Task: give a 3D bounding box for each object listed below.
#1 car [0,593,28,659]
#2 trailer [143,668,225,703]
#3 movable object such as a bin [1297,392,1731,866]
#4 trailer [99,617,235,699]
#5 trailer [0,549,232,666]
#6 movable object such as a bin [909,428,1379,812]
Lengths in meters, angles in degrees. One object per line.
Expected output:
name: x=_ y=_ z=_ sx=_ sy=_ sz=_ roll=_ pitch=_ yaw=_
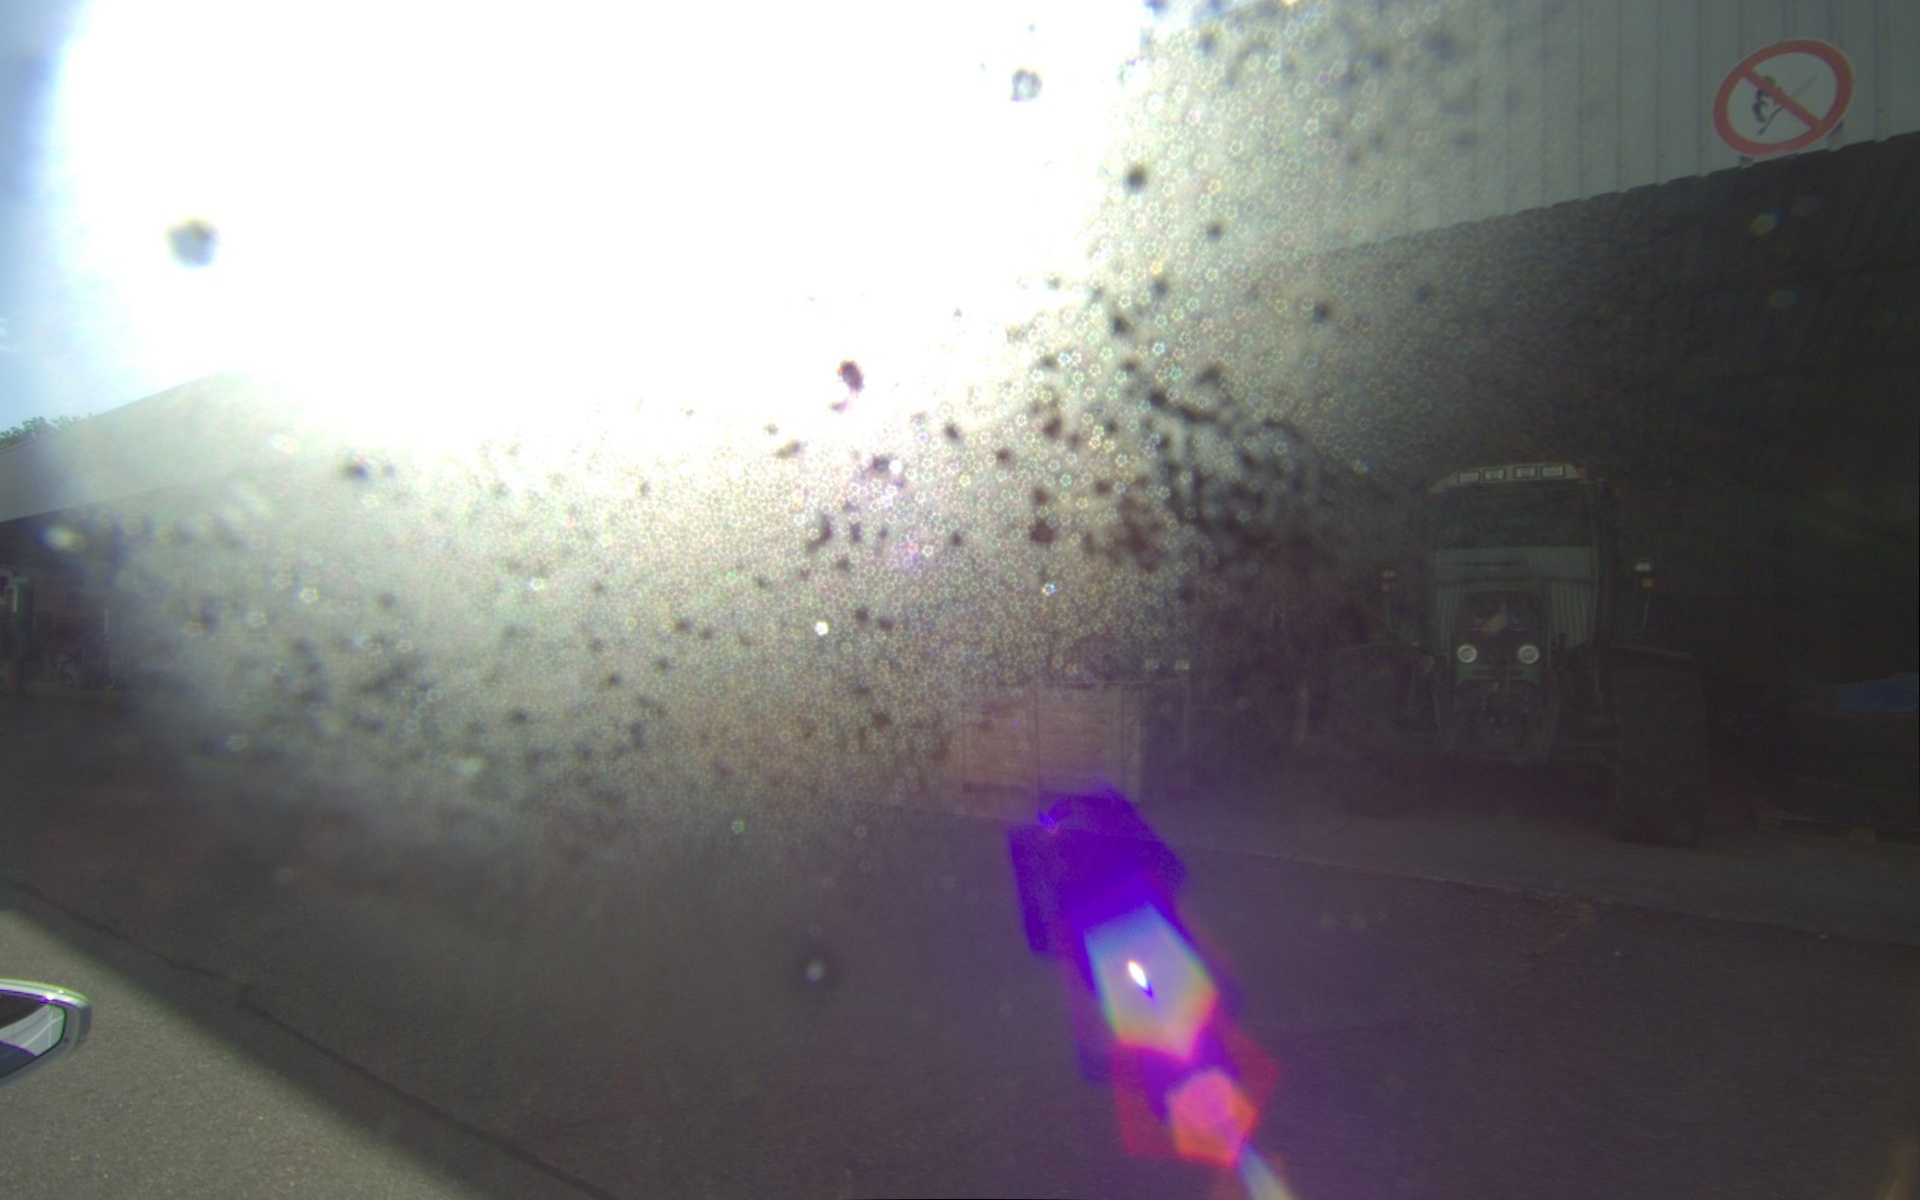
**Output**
car: x=-37.541 y=0.955 z=37.499 sx=1.973 sy=2.472 sz=3.497 roll=0 pitch=-2 yaw=35
trailer: x=-14.325 y=1.577 z=18.499 sx=0.721 sy=0.574 sz=0.971 roll=2 pitch=-4 yaw=30
movable object such as a bin: x=5.474 y=0.333 z=9.605 sx=2.649 sy=2.941 sz=6.341 roll=0 pitch=-3 yaw=34
trailer: x=-16.540 y=1.217 z=20.898 sx=1.884 sy=1.537 sz=1.545 roll=2 pitch=-4 yaw=30
trailer: x=-27.803 y=0.349 z=32.279 sx=2.785 sy=3.413 sz=6.377 roll=0 pitch=-3 yaw=33
movable object such as a bin: x=2.576 y=0.321 z=11.293 sx=2.649 sy=2.941 sz=6.921 roll=0 pitch=-3 yaw=34
